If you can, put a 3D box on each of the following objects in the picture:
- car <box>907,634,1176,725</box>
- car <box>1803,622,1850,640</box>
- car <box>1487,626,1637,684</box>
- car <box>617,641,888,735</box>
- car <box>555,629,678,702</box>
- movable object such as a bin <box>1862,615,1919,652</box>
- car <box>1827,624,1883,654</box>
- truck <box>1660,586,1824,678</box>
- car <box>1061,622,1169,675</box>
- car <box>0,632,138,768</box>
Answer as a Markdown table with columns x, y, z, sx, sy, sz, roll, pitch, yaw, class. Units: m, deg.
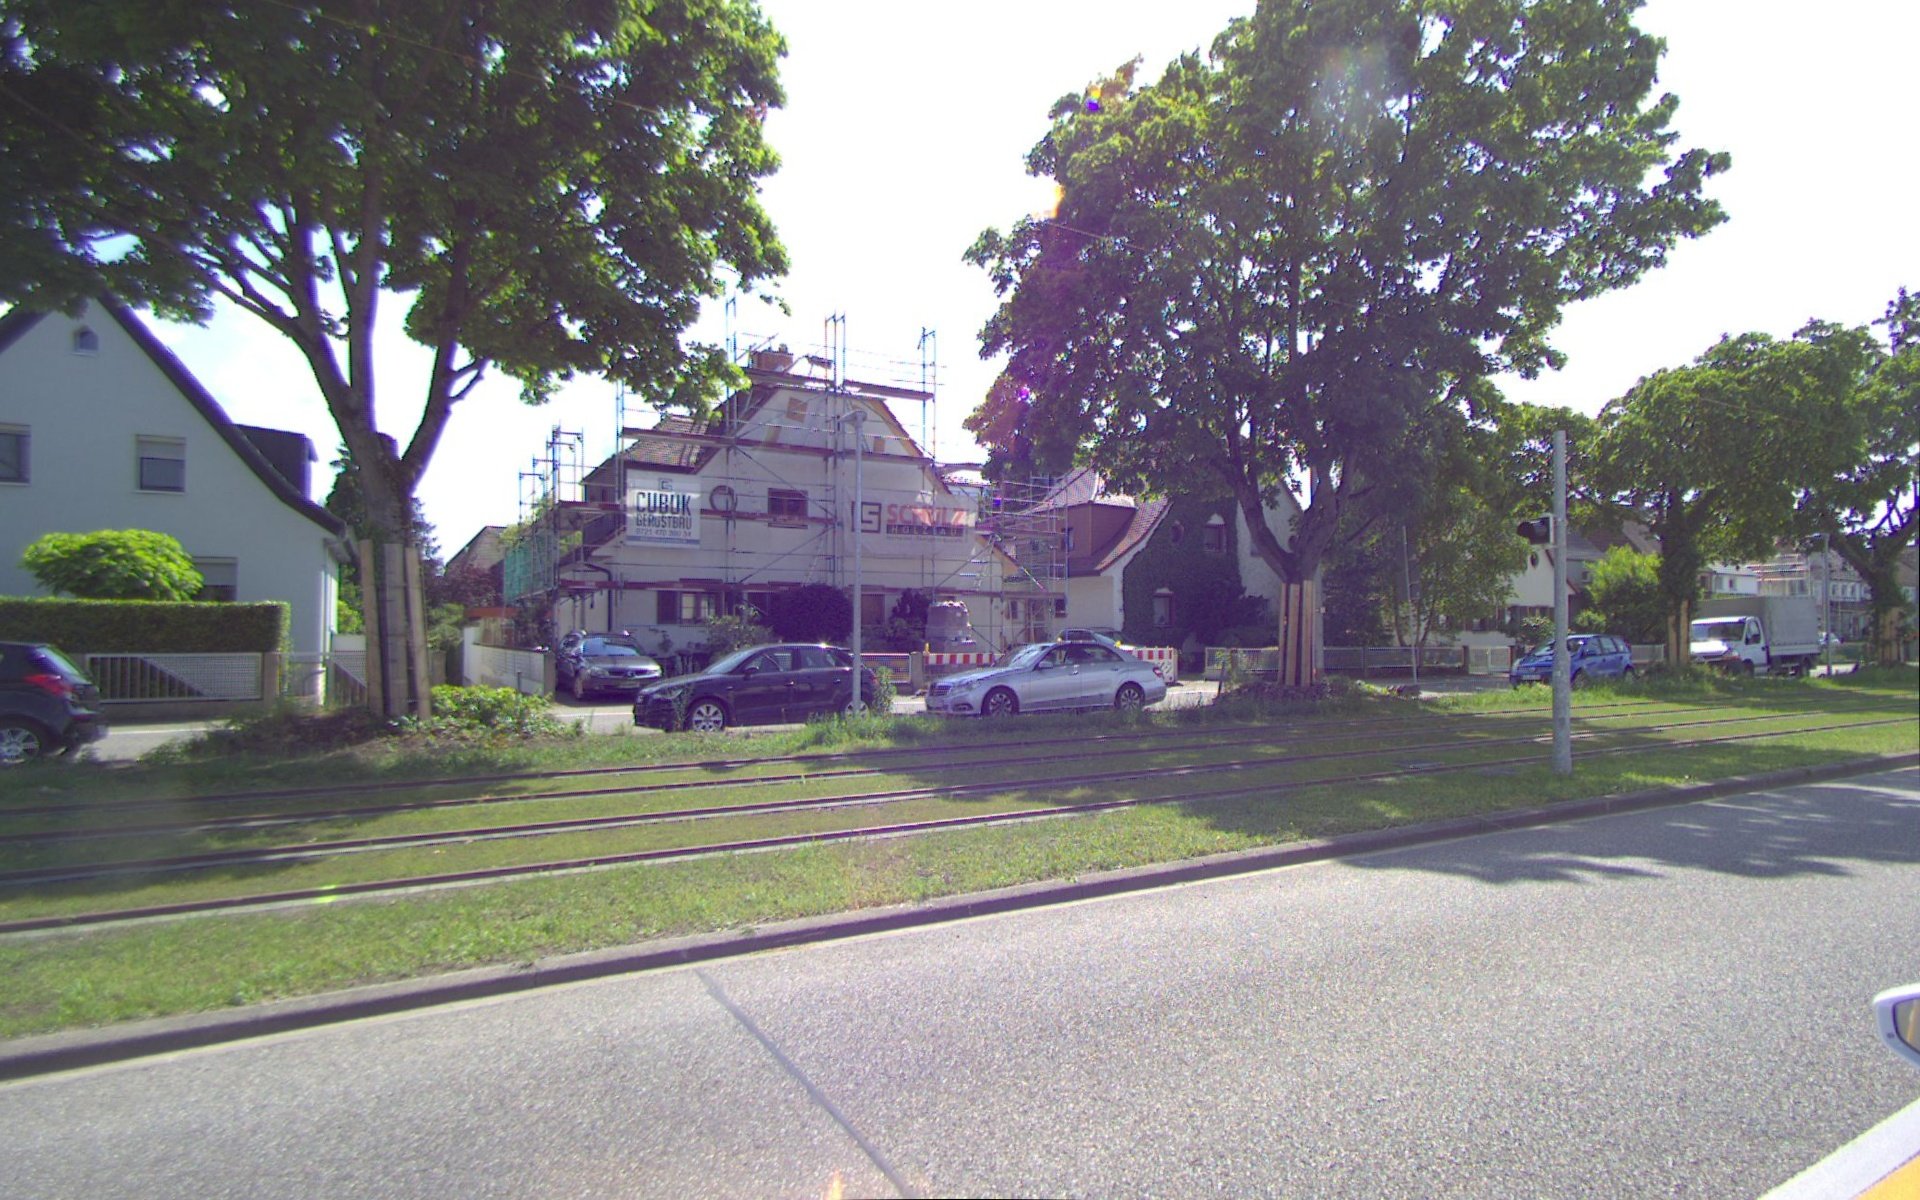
| x | y | z | sx | sy | sz | roll | pitch | yaw | class |
| --- | --- | --- | --- | --- | --- | --- | --- | --- | --- |
| 1.586 | 1.420 | 18.740 | 4.881 | 1.502 | 1.797 | 2 | -3 | -30 | car |
| 55.224 | 2.003 | 63.978 | 3.948 | 1.066 | 1.671 | 3 | -3 | -40 | car |
| 16.590 | 1.502 | 27.650 | 3.956 | 1.472 | 1.983 | 2 | -3 | -32 | car |
| -3.291 | 1.367 | 16.015 | 3.807 | 1.334 | 1.985 | 2 | -5 | -30 | car |
| -7.926 | 1.429 | 22.936 | 1.958 | 1.419 | 3.969 | 2 | -1 | -29 | car |
| 65.737 | 2.333 | 69.890 | 4.283 | 2.482 | 1.781 | -1 | -2 | 39 | movable object such as a bin |
| 53.828 | 2.344 | 60.410 | 2.994 | 1.744 | 1.677 | 2 | -3 | -30 | car |
| 25.827 | 1.087 | 33.118 | 6.202 | 2.803 | 1.985 | 1 | -4 | -30 | truck |
| 5.274 | 1.652 | 34.552 | 1.851 | 1.706 | 3.631 | 2 | -3 | -30 | car |
| -11.859 | 1.098 | 11.112 | 3.954 | 1.457 | 1.984 | 2 | -4 | -31 | car |
